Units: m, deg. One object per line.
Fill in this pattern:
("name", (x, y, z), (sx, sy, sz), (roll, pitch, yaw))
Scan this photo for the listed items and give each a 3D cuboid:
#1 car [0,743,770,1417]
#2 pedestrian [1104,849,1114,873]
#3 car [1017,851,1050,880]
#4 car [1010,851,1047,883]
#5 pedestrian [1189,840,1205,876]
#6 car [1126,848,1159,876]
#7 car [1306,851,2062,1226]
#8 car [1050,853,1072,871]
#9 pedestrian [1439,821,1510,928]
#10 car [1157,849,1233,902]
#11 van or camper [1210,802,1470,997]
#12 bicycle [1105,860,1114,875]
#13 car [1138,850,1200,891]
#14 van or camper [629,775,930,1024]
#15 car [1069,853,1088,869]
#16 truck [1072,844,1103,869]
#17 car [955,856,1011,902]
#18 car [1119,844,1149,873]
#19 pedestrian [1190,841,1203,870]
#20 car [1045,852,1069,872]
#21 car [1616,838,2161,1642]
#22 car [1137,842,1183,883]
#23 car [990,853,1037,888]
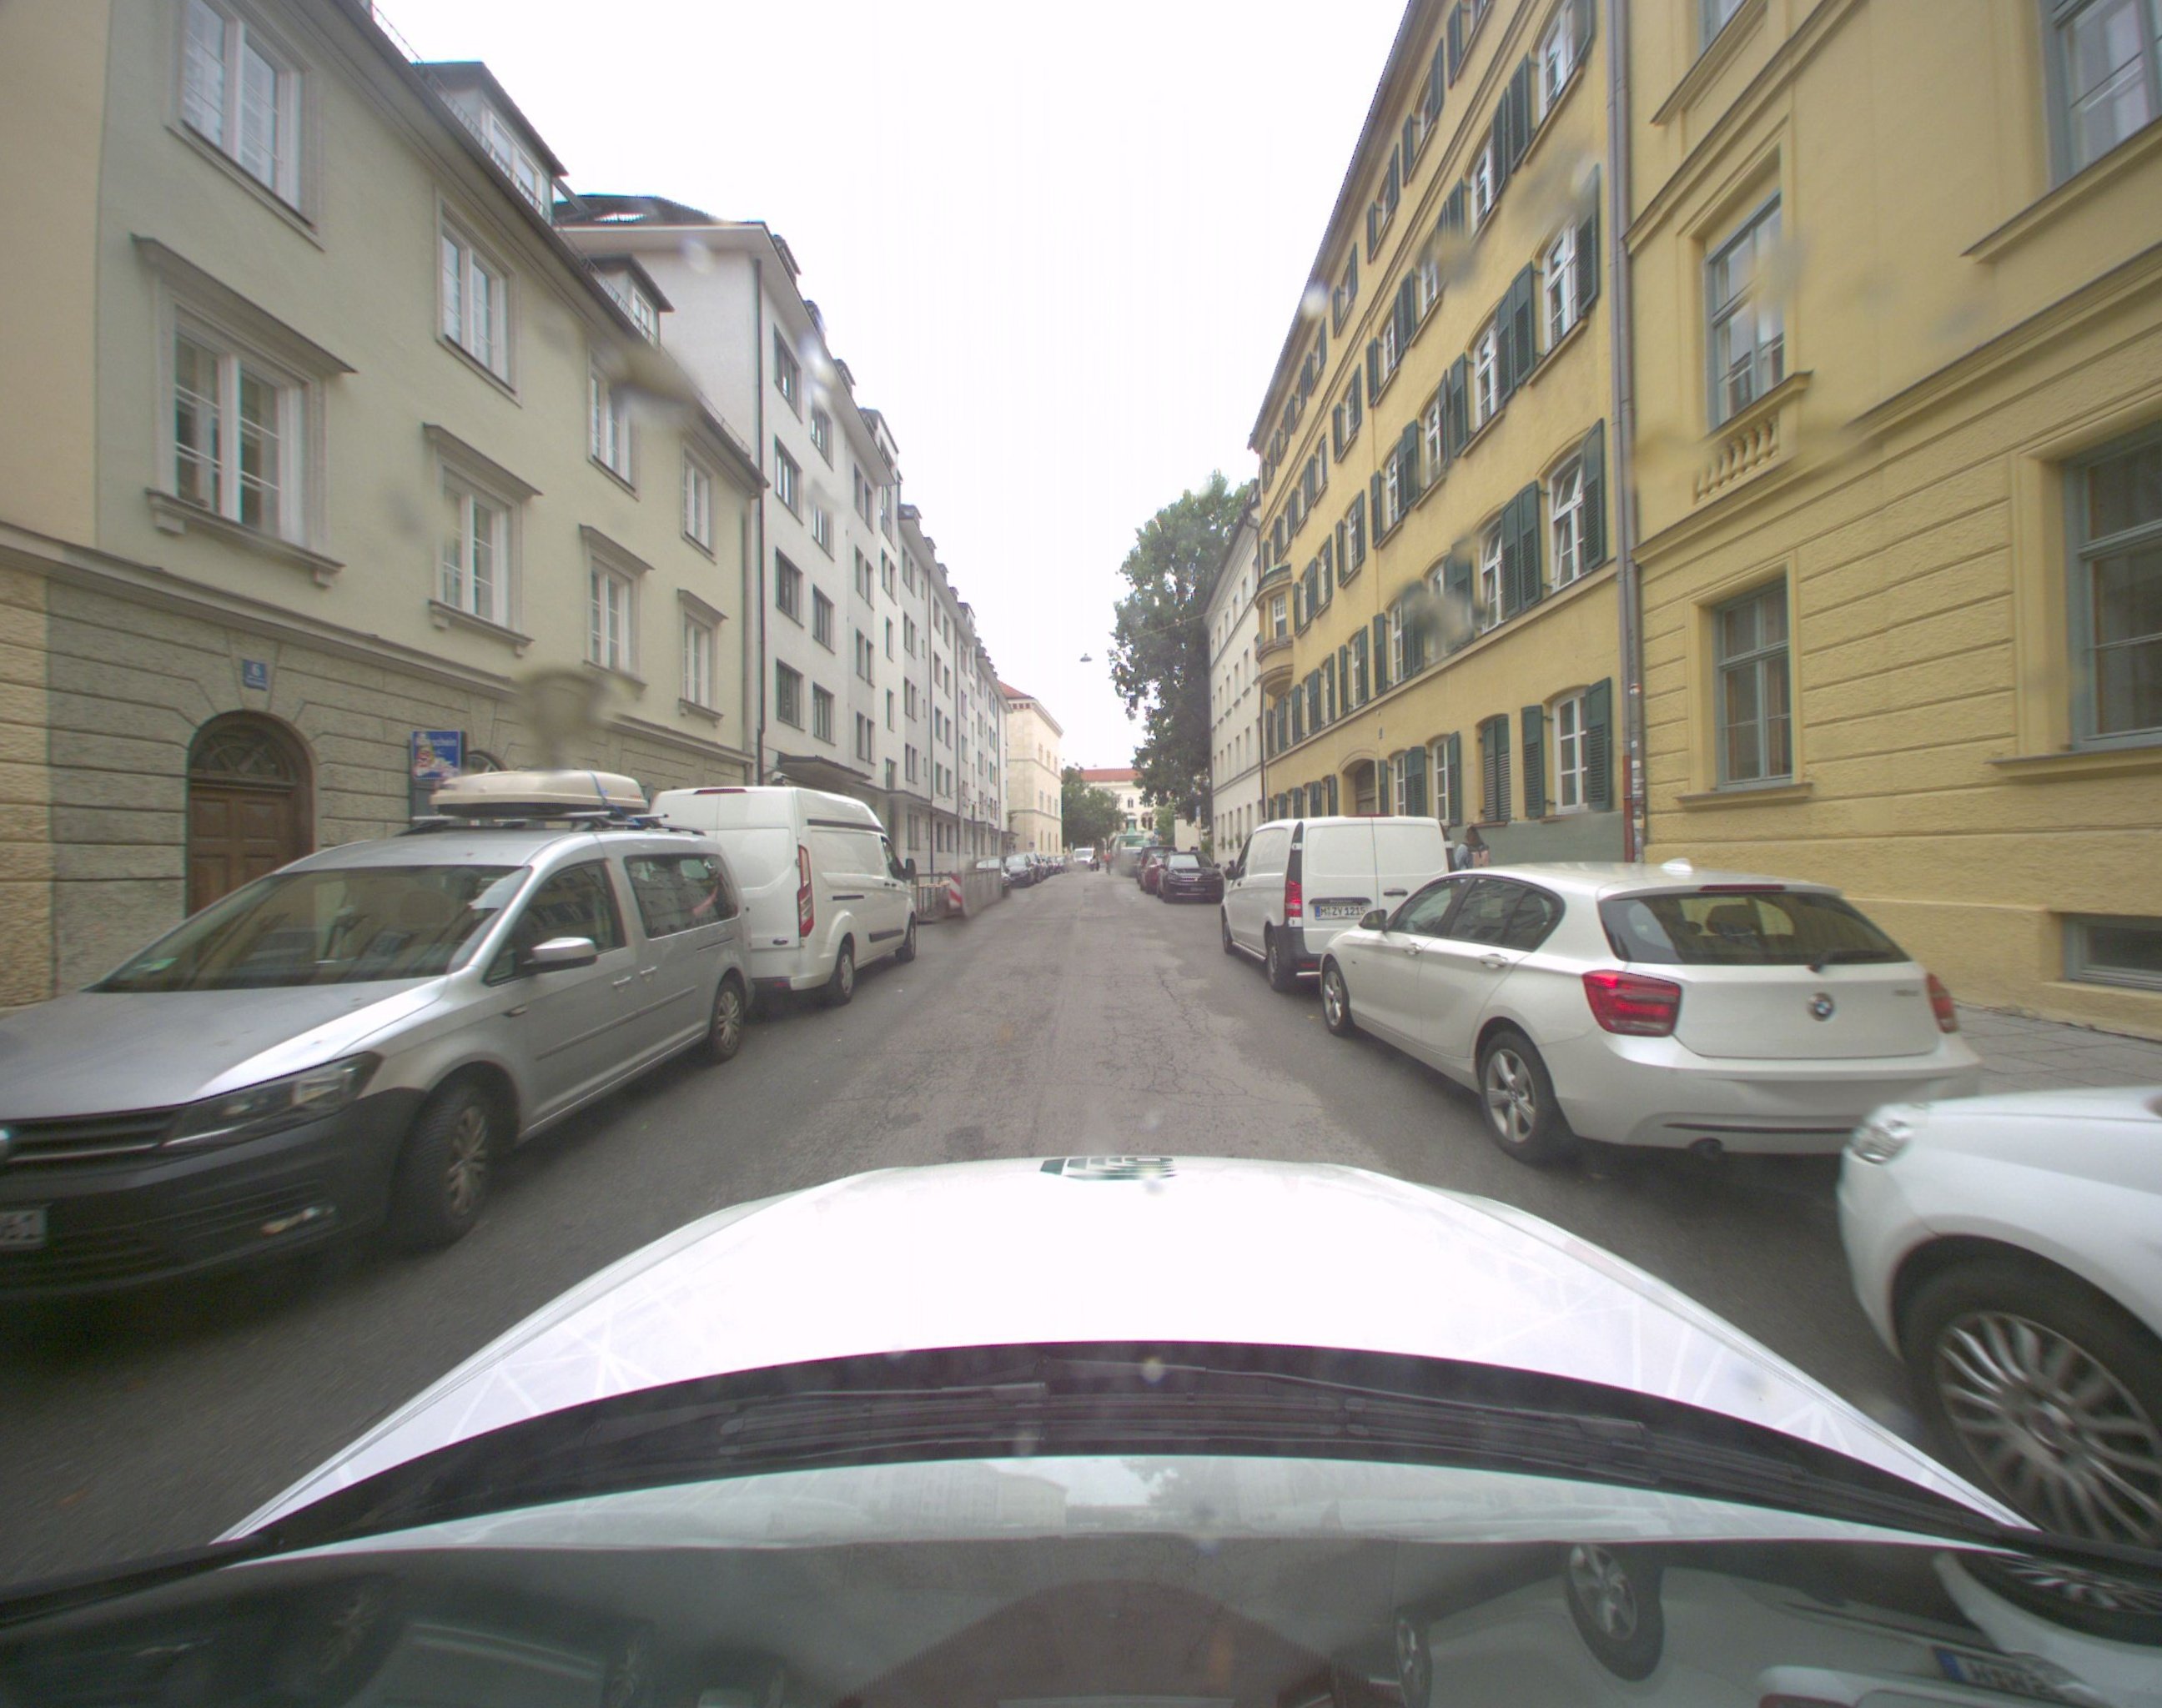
("car", (-3.490, 0.682, 4.724), (1.751, 1.995, 4.620), (-2, 0, -3))
("pedestrian", (2.077, 0.533, 60.333), (0.639, 1.714, 0.843), (-2, -1, 2))
("car", (-2.831, 0.676, 49.498), (1.701, 1.609, 3.863), (-3, 0, 0))
("car", (-2.808, 0.666, 44.243), (1.701, 1.609, 3.863), (-3, 0, 0))
("pedestrian", (6.645, 0.215, 46.549), (0.667, 1.980, 0.709), (-5, -1, 1))
("car", (3.836, 0.480, 51.350), (1.805, 1.614, 4.157), (-2, 0, 2))
("car", (2.930, 0.705, 5.257), (1.703, 1.392, 4.205), (-2, 0, -1))
("car", (-1.878, 0.718, 78.060), (1.699, 1.581, 3.867), (-3, 0, 4))
("pedestrian", (6.134, 0.319, 12.722), (0.658, 1.571, 0.642), (-5, -1, 0))
("car", (3.396, 0.609, 25.064), (1.805, 1.464, 4.247), (-1, 0, 1))
("van or camper", (2.950, 0.437, 10.559), (1.827, 1.872, 5.080), (-2, 0, 1))
("bicycle", (2.102, 1.000, 60.315), (0.673, 1.095, 1.761), (-2, -1, 2))
("car", (3.219, 0.569, 30.486), (1.806, 1.424, 4.245), (-1, 0, -1))
("van or camper", (-3.311, 0.421, 10.260), (1.749, 2.281, 5.273), (-2, 0, 0))
("car", (-0.208, 0.679, 86.664), (1.699, 1.581, 3.867), (-3, 0, 4))
("truck", (0.653, 0.300, 79.018), (2.109, 2.247, 6.199), (-2, -1, 8))
("car", (-3.427, 0.815, 28.744), (1.760, 1.410, 4.146), (-3, 0, -6))
("car", (3.688, 0.296, 57.393), (1.845, 1.919, 4.771), (-2, 0, 2))
("pedestrian", (8.142, 0.121, 57.313), (0.667, 1.980, 0.709), (-5, -1, 1))
("car", (-2.118, 0.677, 72.125), (1.699, 1.609, 3.866), (-3, 0, 3))
("car", (2.823, 0.696, 0.902), (1.703, 1.454, 4.095), (-2, 0, -1))
("car", (3.579, 0.373, 37.500), (1.805, 1.797, 4.248), (-1, 0, 2))
("car", (-3.113, 0.738, 38.427), (1.812, 1.444, 3.818), (-3, 0, 0))
